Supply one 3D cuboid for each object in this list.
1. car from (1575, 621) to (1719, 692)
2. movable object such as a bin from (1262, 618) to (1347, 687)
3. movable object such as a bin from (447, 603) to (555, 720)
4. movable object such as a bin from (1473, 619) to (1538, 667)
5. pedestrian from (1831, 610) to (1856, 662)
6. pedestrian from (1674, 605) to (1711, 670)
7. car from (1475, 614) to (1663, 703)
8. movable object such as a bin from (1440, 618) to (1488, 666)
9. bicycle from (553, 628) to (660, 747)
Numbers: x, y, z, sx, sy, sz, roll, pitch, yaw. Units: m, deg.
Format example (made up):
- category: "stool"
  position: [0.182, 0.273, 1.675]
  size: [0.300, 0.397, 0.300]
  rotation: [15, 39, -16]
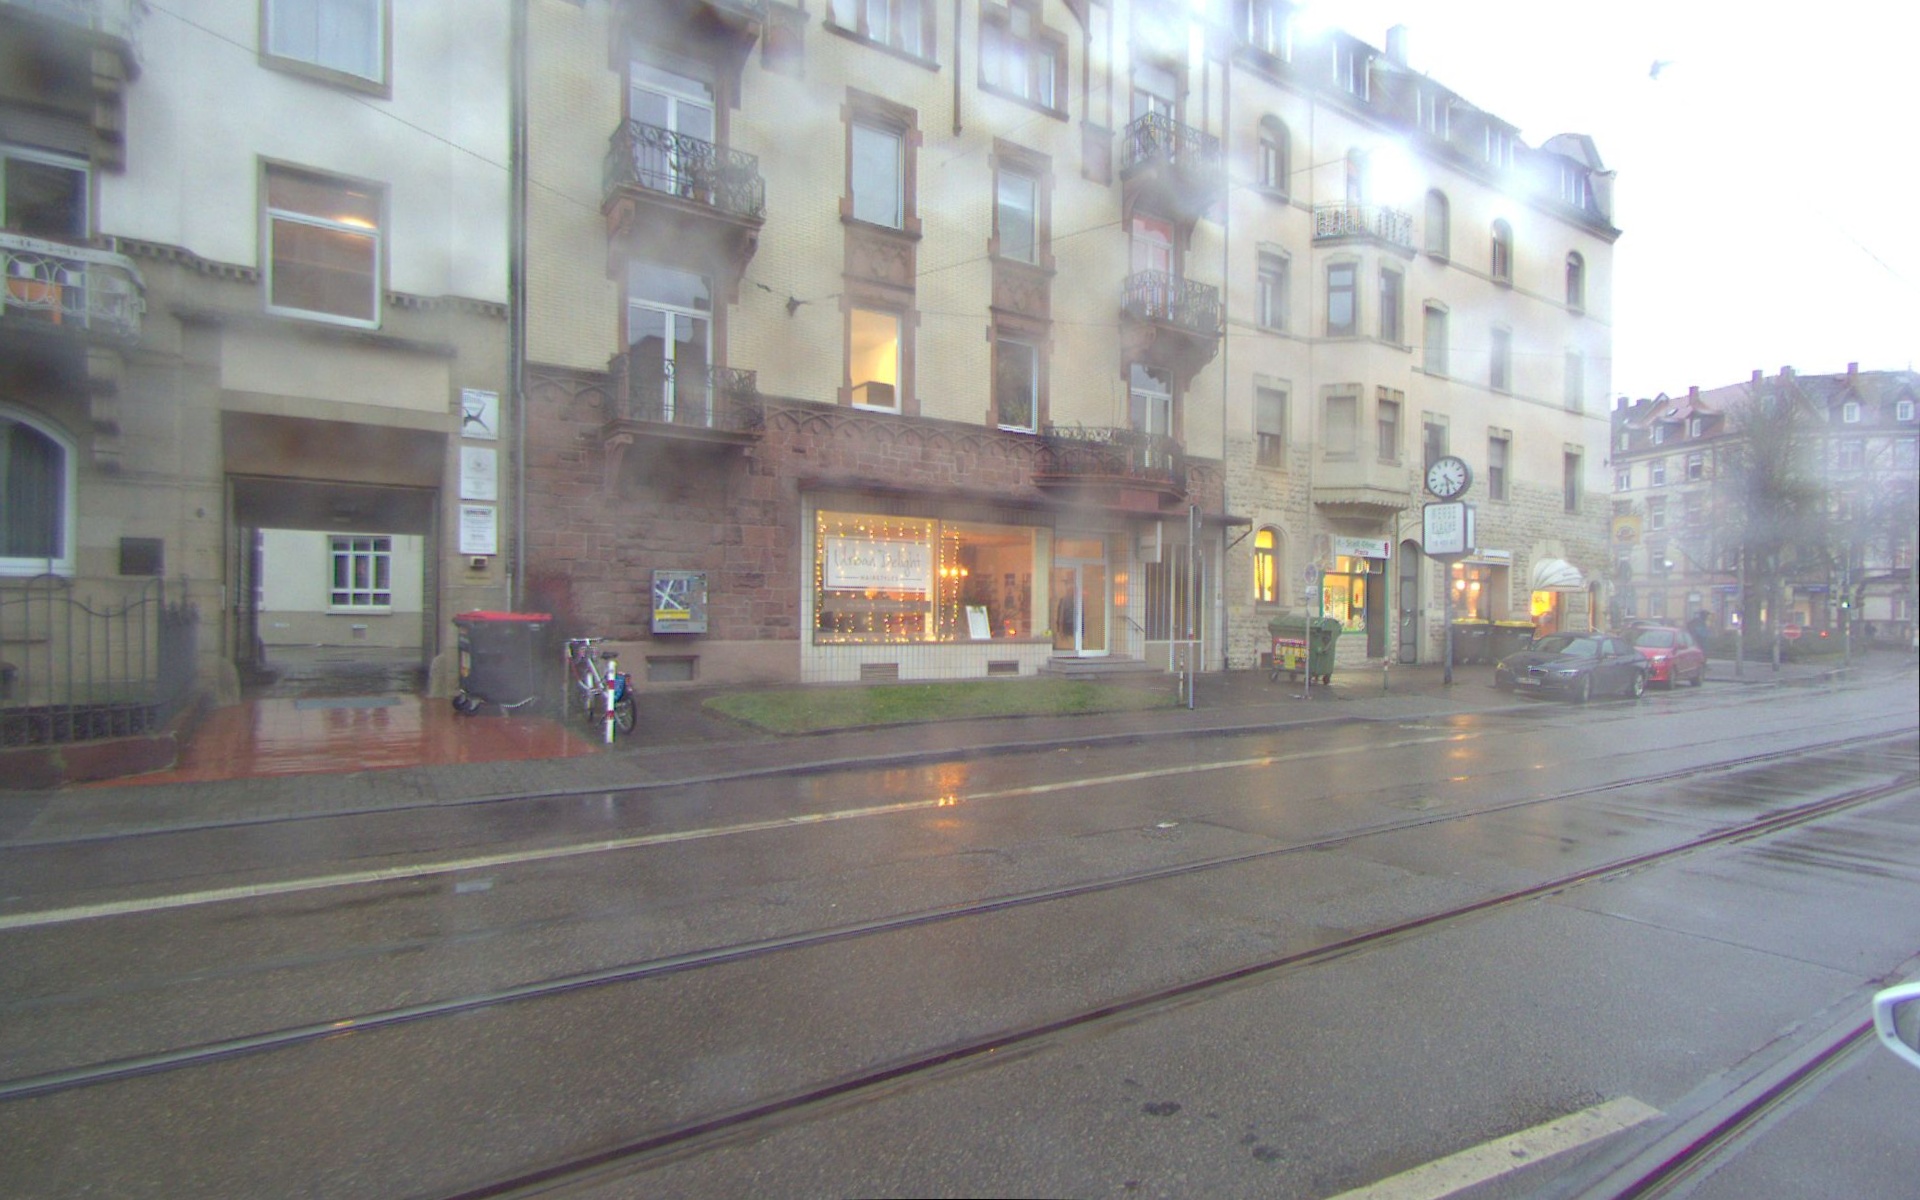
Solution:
- category: "car"
  position: [18.315, 1.424, 26.736]
  size: [3.997, 1.573, 2.021]
  rotation: [0, 3, -39]
- category: "movable object such as a bin"
  position: [7.523, 1.118, 21.949]
  size: [1.236, 1.439, 1.260]
  rotation: [1, 0, -33]
- category: "movable object such as a bin"
  position: [-6.035, 0.771, 13.185]
  size: [1.155, 1.398, 1.096]
  rotation: [1, 2, -32]
- category: "movable object such as a bin"
  position: [16.388, 1.265, 30.200]
  size: [1.239, 1.385, 1.286]
  rotation: [1, 0, -34]
- category: "pedestrian"
  position: [35.664, 1.447, 40.550]
  size: [0.695, 2.040, 0.658]
  rotation: [0, 0, 37]
- category: "pedestrian"
  position: [23.651, 1.198, 32.444]
  size: [0.635, 2.040, 0.758]
  rotation: [1, 0, 3]
- category: "car"
  position: [13.963, 1.300, 22.940]
  size: [4.587, 1.667, 1.972]
  rotation: [2, 3, -37]
- category: "movable object such as a bin"
  position: [15.030, 1.241, 29.962]
  size: [0.996, 1.396, 0.893]
  rotation: [1, 0, -33]
- category: "bicycle"
  position: [-4.199, 0.962, 11.808]
  size: [0.687, 1.120, 2.336]
  rotation: [1, 1, -32]
